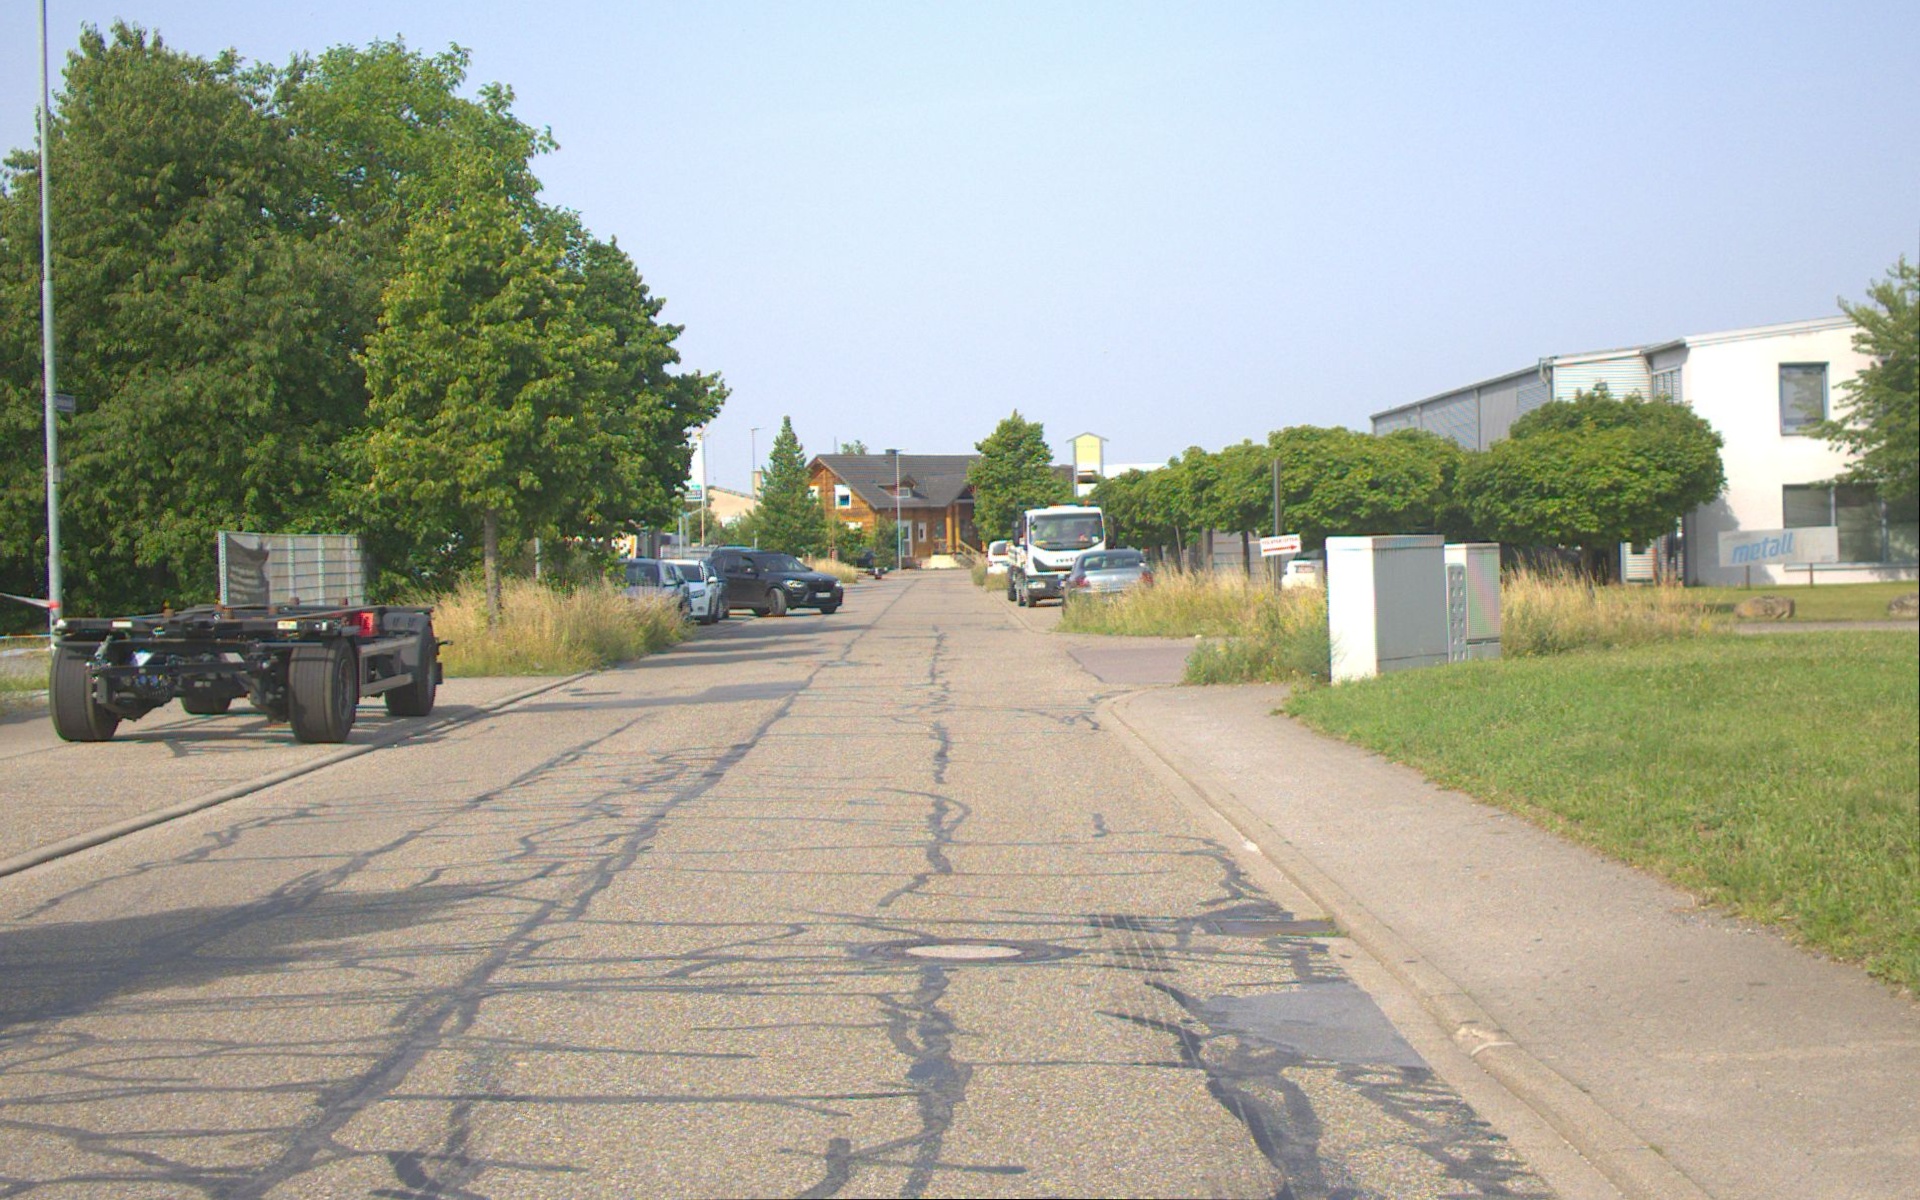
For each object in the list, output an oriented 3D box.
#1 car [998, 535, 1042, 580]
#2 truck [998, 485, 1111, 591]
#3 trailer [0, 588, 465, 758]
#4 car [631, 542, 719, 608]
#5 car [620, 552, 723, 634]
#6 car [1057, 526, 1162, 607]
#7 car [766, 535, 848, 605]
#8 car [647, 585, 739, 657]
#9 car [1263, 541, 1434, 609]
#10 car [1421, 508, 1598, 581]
[{"bbox_3d":[2.658,-1.897,154.086,1.837,1.917,3.756,-2,1,0],"label":"car"},{"bbox_3d":[2.473,-1.643,91.865,2.359,2.672,6.512,-1,1,-4],"label":"truck"},{"bbox_3d":[-6.423,0.552,31.276,2.582,1.180,9.364,0,1,-1],"label":"trailer"},{"bbox_3d":[-6.511,-0.594,78.764,1.683,1.464,4.254,0,1,0],"label":"car"},{"bbox_3d":[-5.731,-0.165,68.636,1.566,1.533,3.688,-1,1,2],"label":"car"},{"bbox_3d":[2.926,-0.677,68.099,1.794,1.512,4.424,-1,1,-1],"label":"car"},{"bbox_3d":[-3.990,-0.814,90.362,1.856,1.709,4.226,-3,1,1],"label":"car"},{"bbox_3d":[-5.670,0.435,73.324,1.578,1.438,3.963,0,1,1],"label":"car"},{"bbox_3d":[8.694,-0.562,76.857,3.687,1.375,1.687,-3,2,-40],"label":"car"},{"bbox_3d":[12.851,-1.306,80.275,4.522,1.583,1.686,-2,1,-44],"label":"car"}]
